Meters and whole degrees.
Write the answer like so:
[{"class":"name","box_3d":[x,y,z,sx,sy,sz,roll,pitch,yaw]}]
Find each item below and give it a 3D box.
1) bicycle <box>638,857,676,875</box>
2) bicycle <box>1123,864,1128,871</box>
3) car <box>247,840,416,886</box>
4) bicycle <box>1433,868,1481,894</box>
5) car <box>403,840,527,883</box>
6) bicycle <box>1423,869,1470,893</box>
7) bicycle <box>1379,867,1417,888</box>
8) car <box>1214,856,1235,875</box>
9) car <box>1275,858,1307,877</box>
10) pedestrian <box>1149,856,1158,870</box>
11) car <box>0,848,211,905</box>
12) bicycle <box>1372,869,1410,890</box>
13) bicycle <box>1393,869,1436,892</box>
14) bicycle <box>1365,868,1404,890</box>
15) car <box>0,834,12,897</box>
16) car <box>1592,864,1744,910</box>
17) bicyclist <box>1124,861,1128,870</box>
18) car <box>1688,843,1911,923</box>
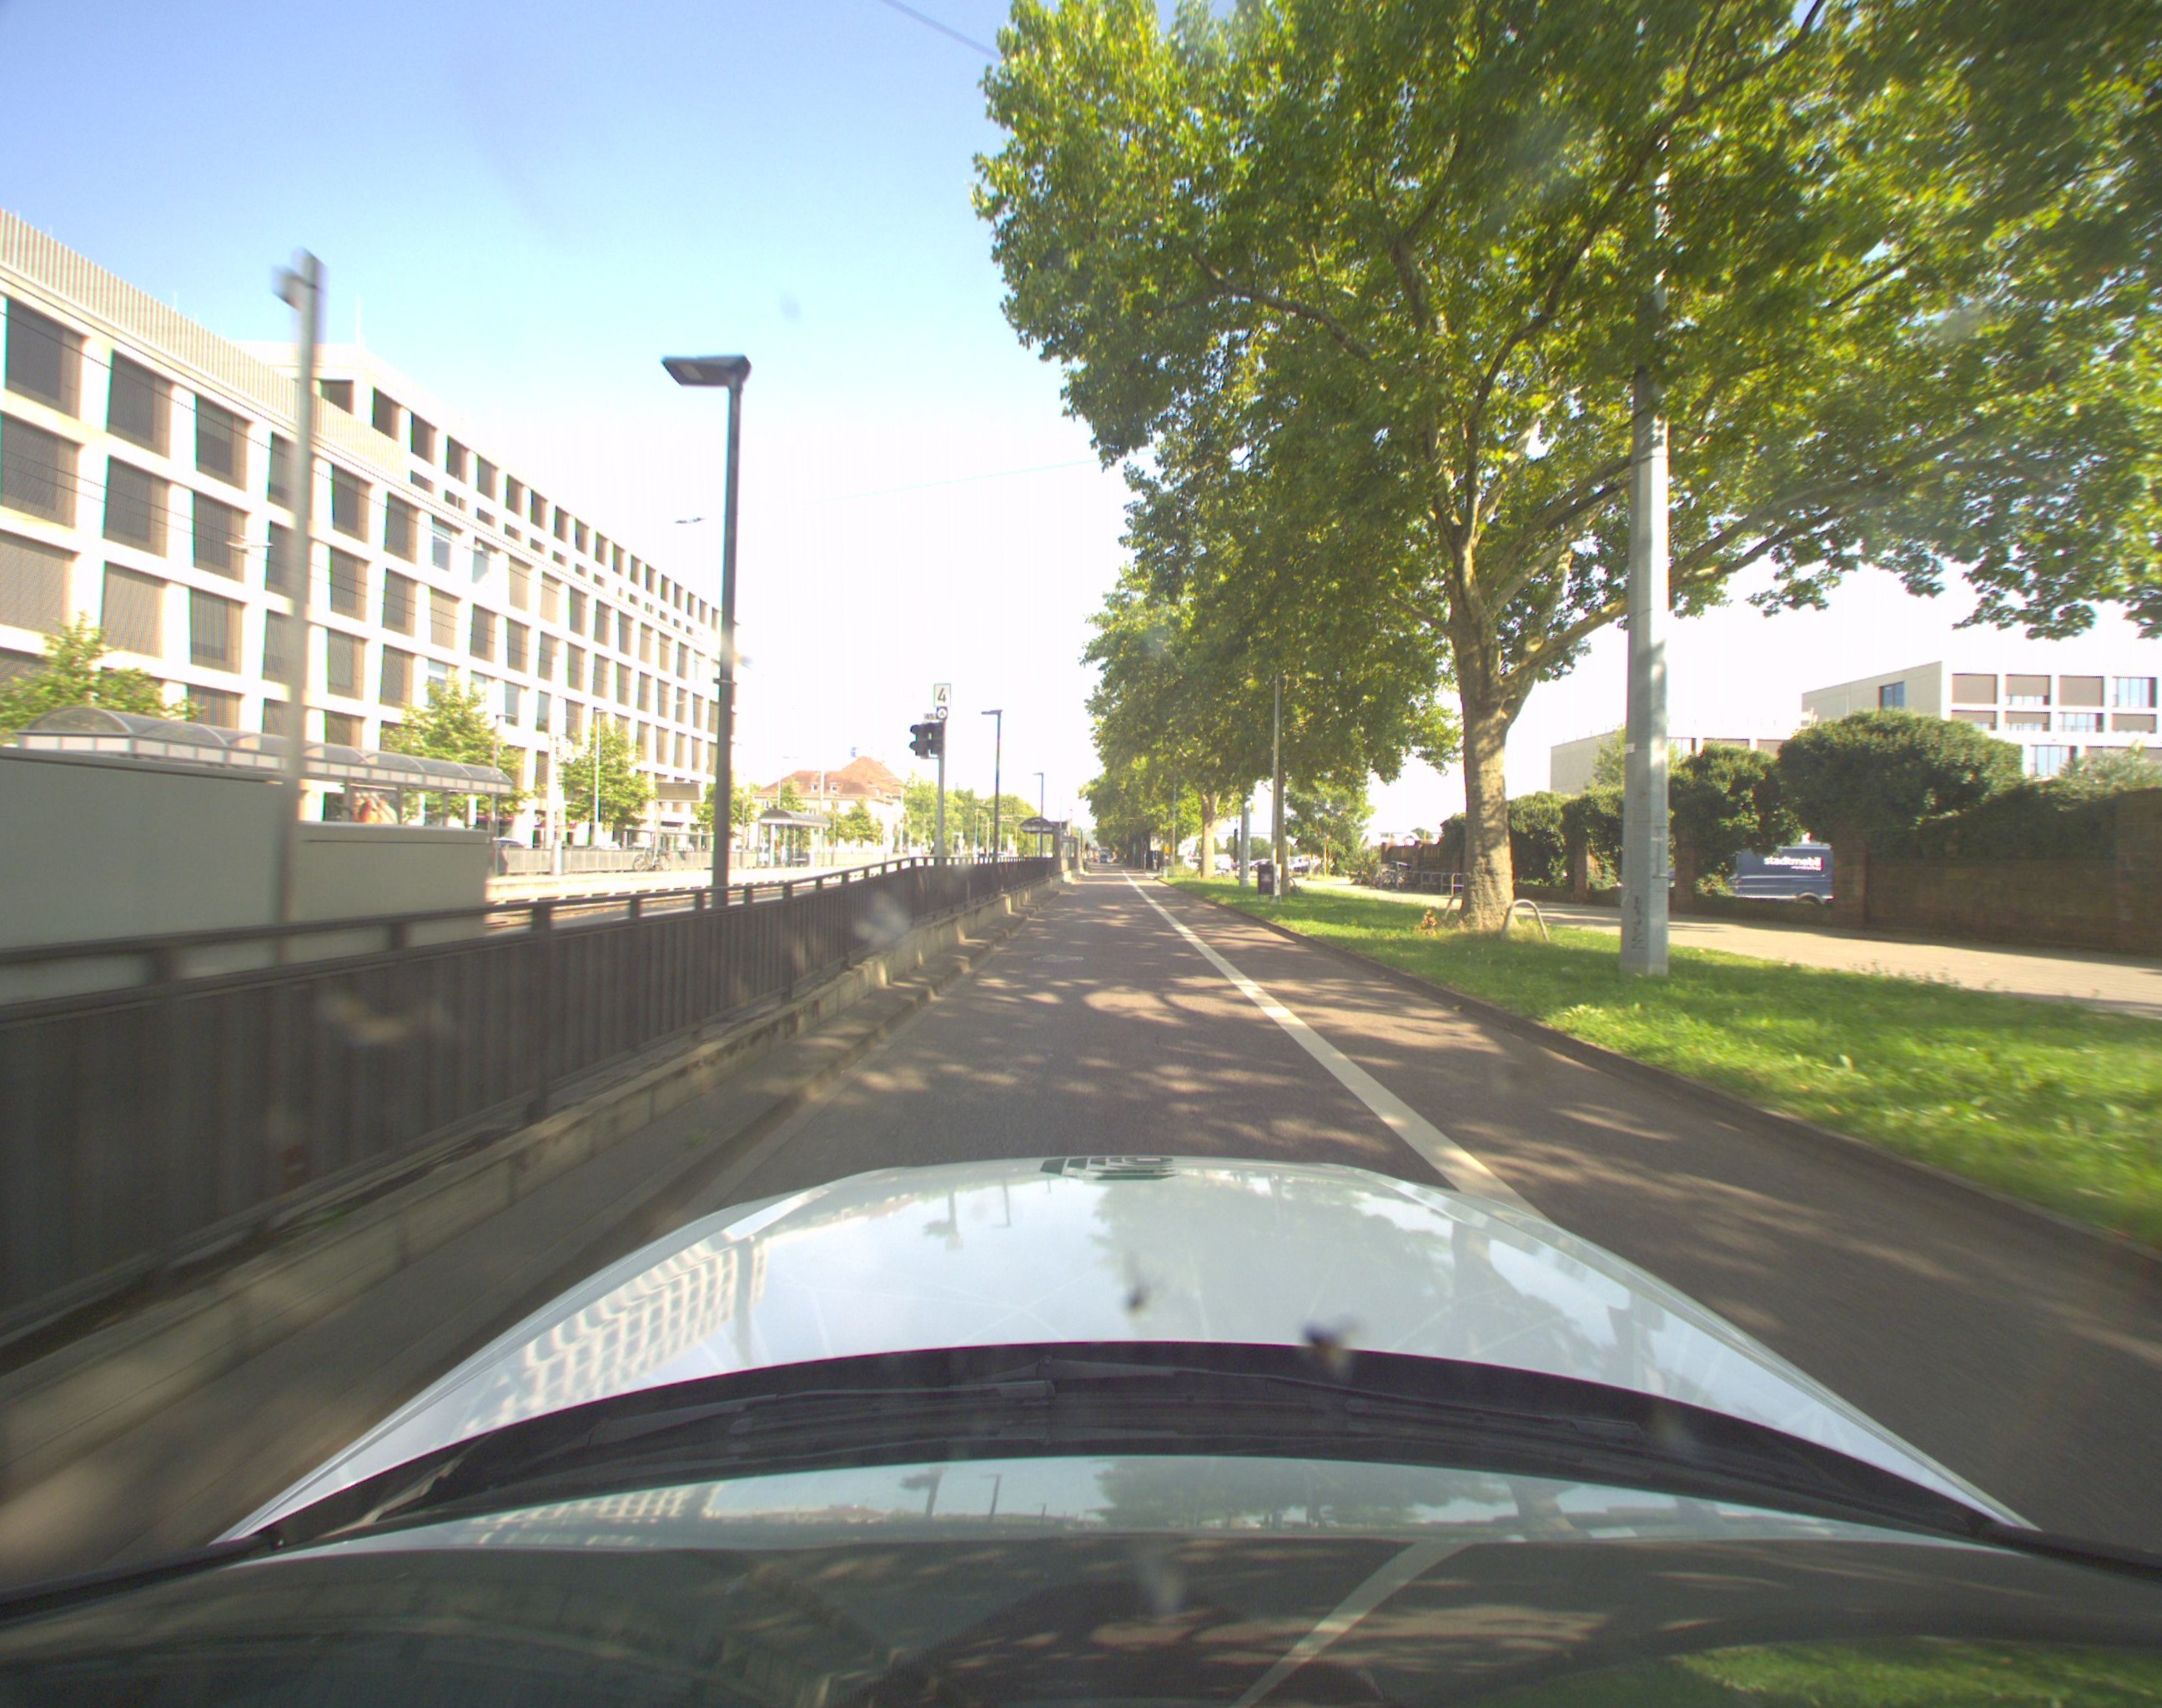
[{"class":"bicycle","box_3d":[-16.209,0.436,31.173,0.474,0.662,1.616,1,0,6]},{"class":"bicycle","box_3d":[7.692,2.322,139.797,0.712,1.107,2.510,2,-1,2]},{"class":"car","box_3d":[-24.685,0.281,27.061,1.636,1.377,4.223,1,0,1]},{"class":"bicycle","box_3d":[14.713,1.064,31.881,1.649,0.969,0.506,-1,-1,2]},{"class":"car","box_3d":[-24.442,0.289,32.539,1.636,1.550,4.223,1,0,1]},{"class":"bicycle","box_3d":[14.706,1.083,32.772,1.647,0.969,0.507,-1,-1,6]},{"class":"bicycle","box_3d":[15.529,1.143,39.927,1.649,0.969,0.506,-1,-1,3]},{"class":"car","box_3d":[15.718,1.266,89.423,1.715,2.048,4.463,1,0,2]},{"class":"car","box_3d":[19.399,1.280,75.091,1.705,1.679,4.275,1,-1,30]},{"class":"pedestrian","box_3d":[8.270,1.032,92.653,0.619,1.617,0.850,0,-1,39]},{"class":"car","box_3d":[-24.665,0.505,20.145,1.636,1.253,4.223,1,0,1]},{"class":"bicycle","box_3d":[14.688,1.177,38.582,0.509,0.969,1.642,0,-1,-40]},{"class":"bicycle","box_3d":[14.518,1.155,35.448,1.647,0.969,0.507,-1,-1,6]},{"class":"bicycle","box_3d":[14.167,1.161,38.060,0.509,0.969,1.642,0,-1,-40]},{"class":"car","box_3d":[-24.283,0.234,15.710,1.636,1.377,4.223,1,0,1]},{"class":"car","box_3d":[23.087,1.285,32.176,4.499,1.675,1.979,1,0,4]},{"class":"bicyclist","box_3d":[7.714,1.921,139.914,0.703,1.461,1.009,2,-1,2]},{"class":"car","box_3d":[22.761,0.871,25.991,5.107,2.368,2.133,1,0,4]}]
